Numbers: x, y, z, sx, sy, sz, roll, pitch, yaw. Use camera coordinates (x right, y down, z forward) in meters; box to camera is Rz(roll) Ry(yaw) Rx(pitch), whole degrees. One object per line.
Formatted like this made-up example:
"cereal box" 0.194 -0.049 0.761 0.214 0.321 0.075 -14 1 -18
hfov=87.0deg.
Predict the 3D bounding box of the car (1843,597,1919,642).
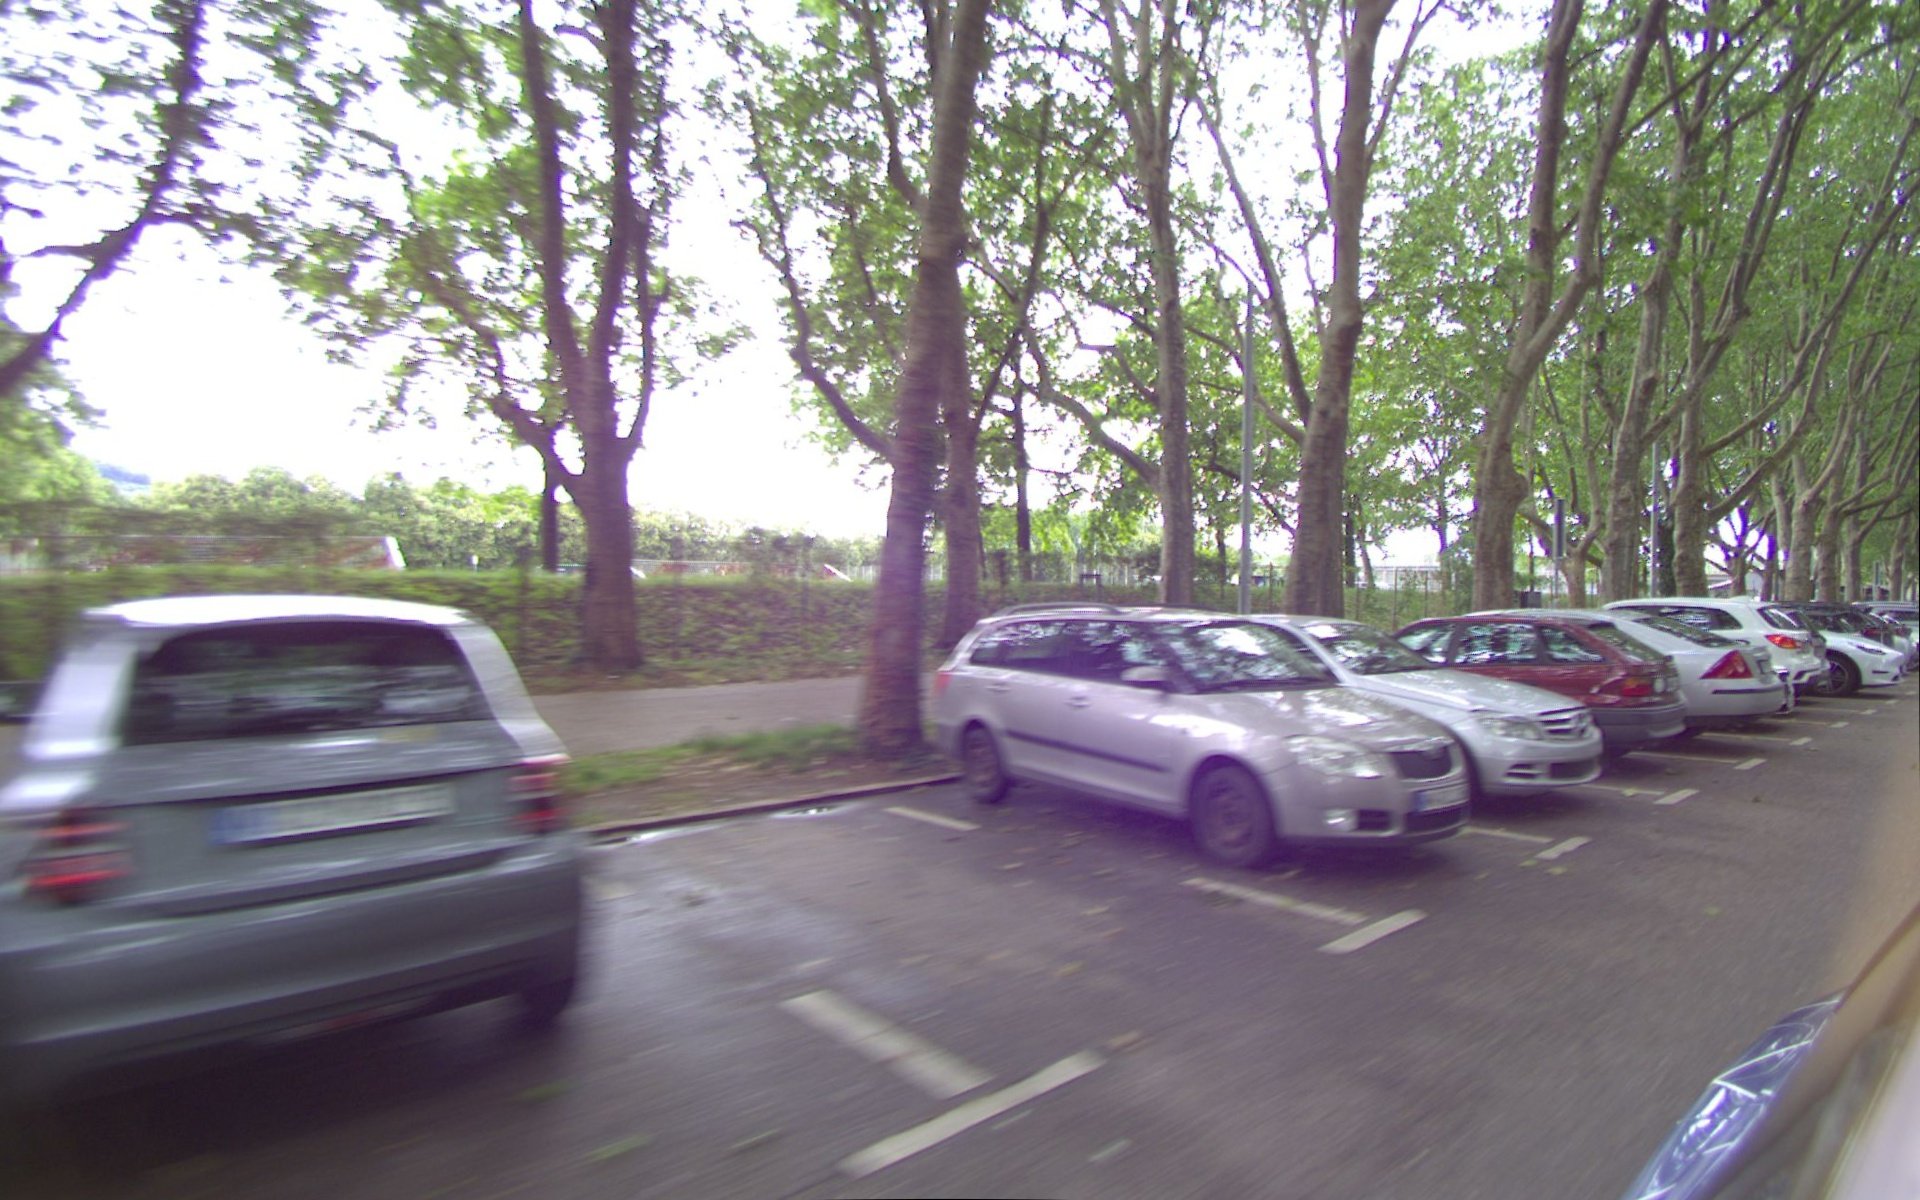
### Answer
"car" 32.825 0.652 34.344 1.665 1.488 4.120 0 0 -40

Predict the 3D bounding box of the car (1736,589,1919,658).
"car" 21.590 0.528 24.464 1.597 1.488 4.301 0 2 -44

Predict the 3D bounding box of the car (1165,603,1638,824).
"car" 3.452 0.750 8.508 1.489 1.442 3.439 0 0 -30

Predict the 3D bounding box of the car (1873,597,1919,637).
"car" 36.547 0.629 37.251 1.583 1.470 4.217 0 0 -42

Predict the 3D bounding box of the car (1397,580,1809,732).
"car" 7.239 0.534 11.596 1.952 1.442 3.648 0 0 -44

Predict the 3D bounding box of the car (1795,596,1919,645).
"car" 29.039 0.622 32.076 1.638 1.488 3.782 0 0 -41

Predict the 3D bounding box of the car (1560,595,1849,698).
"car" 12.424 0.688 17.054 1.614 1.538 3.652 0 0 -40

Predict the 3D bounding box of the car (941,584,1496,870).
"car" 1.504 0.640 7.064 1.490 1.442 3.690 0 0 -35

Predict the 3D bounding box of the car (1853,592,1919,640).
"car" 34.663 0.561 36.039 1.664 1.691 4.121 0 0 -40

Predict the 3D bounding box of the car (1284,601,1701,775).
"car" 5.205 0.734 10.173 1.494 1.442 3.427 0 0 -44

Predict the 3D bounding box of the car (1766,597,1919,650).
"car" 26.732 0.670 29.901 1.595 1.488 4.373 0 0 -41

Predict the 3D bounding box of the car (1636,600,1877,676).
"car" 15.893 0.701 20.322 1.494 1.389 3.648 0 0 -44

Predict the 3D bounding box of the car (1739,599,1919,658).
"car" 23.784 0.744 26.879 1.619 1.489 4.624 0 -1 -38

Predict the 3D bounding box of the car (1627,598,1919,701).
"car" 14.470 0.775 17.898 1.824 1.616 4.169 0 0 -44

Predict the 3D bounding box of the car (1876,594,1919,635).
"car" 39.876 0.584 41.081 1.665 1.628 3.832 0 0 -42

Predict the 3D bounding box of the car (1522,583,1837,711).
"car" 10.678 0.625 15.199 1.494 1.688 3.648 0 0 -44

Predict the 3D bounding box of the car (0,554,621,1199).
"car" -2.835 0.656 4.146 1.529 1.527 3.429 0 0 -42

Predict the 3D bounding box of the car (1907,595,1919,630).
"car" 49.687 0.627 49.724 1.768 1.777 4.395 0 0 -38

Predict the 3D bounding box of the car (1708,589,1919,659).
"car" 19.640 0.510 23.215 1.597 1.488 3.778 0 0 -44

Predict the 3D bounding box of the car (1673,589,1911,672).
"car" 17.808 0.589 21.759 1.791 1.617 3.778 0 0 -44

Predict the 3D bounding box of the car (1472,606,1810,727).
"car" 9.254 0.799 13.947 1.494 1.428 3.648 0 0 -44
